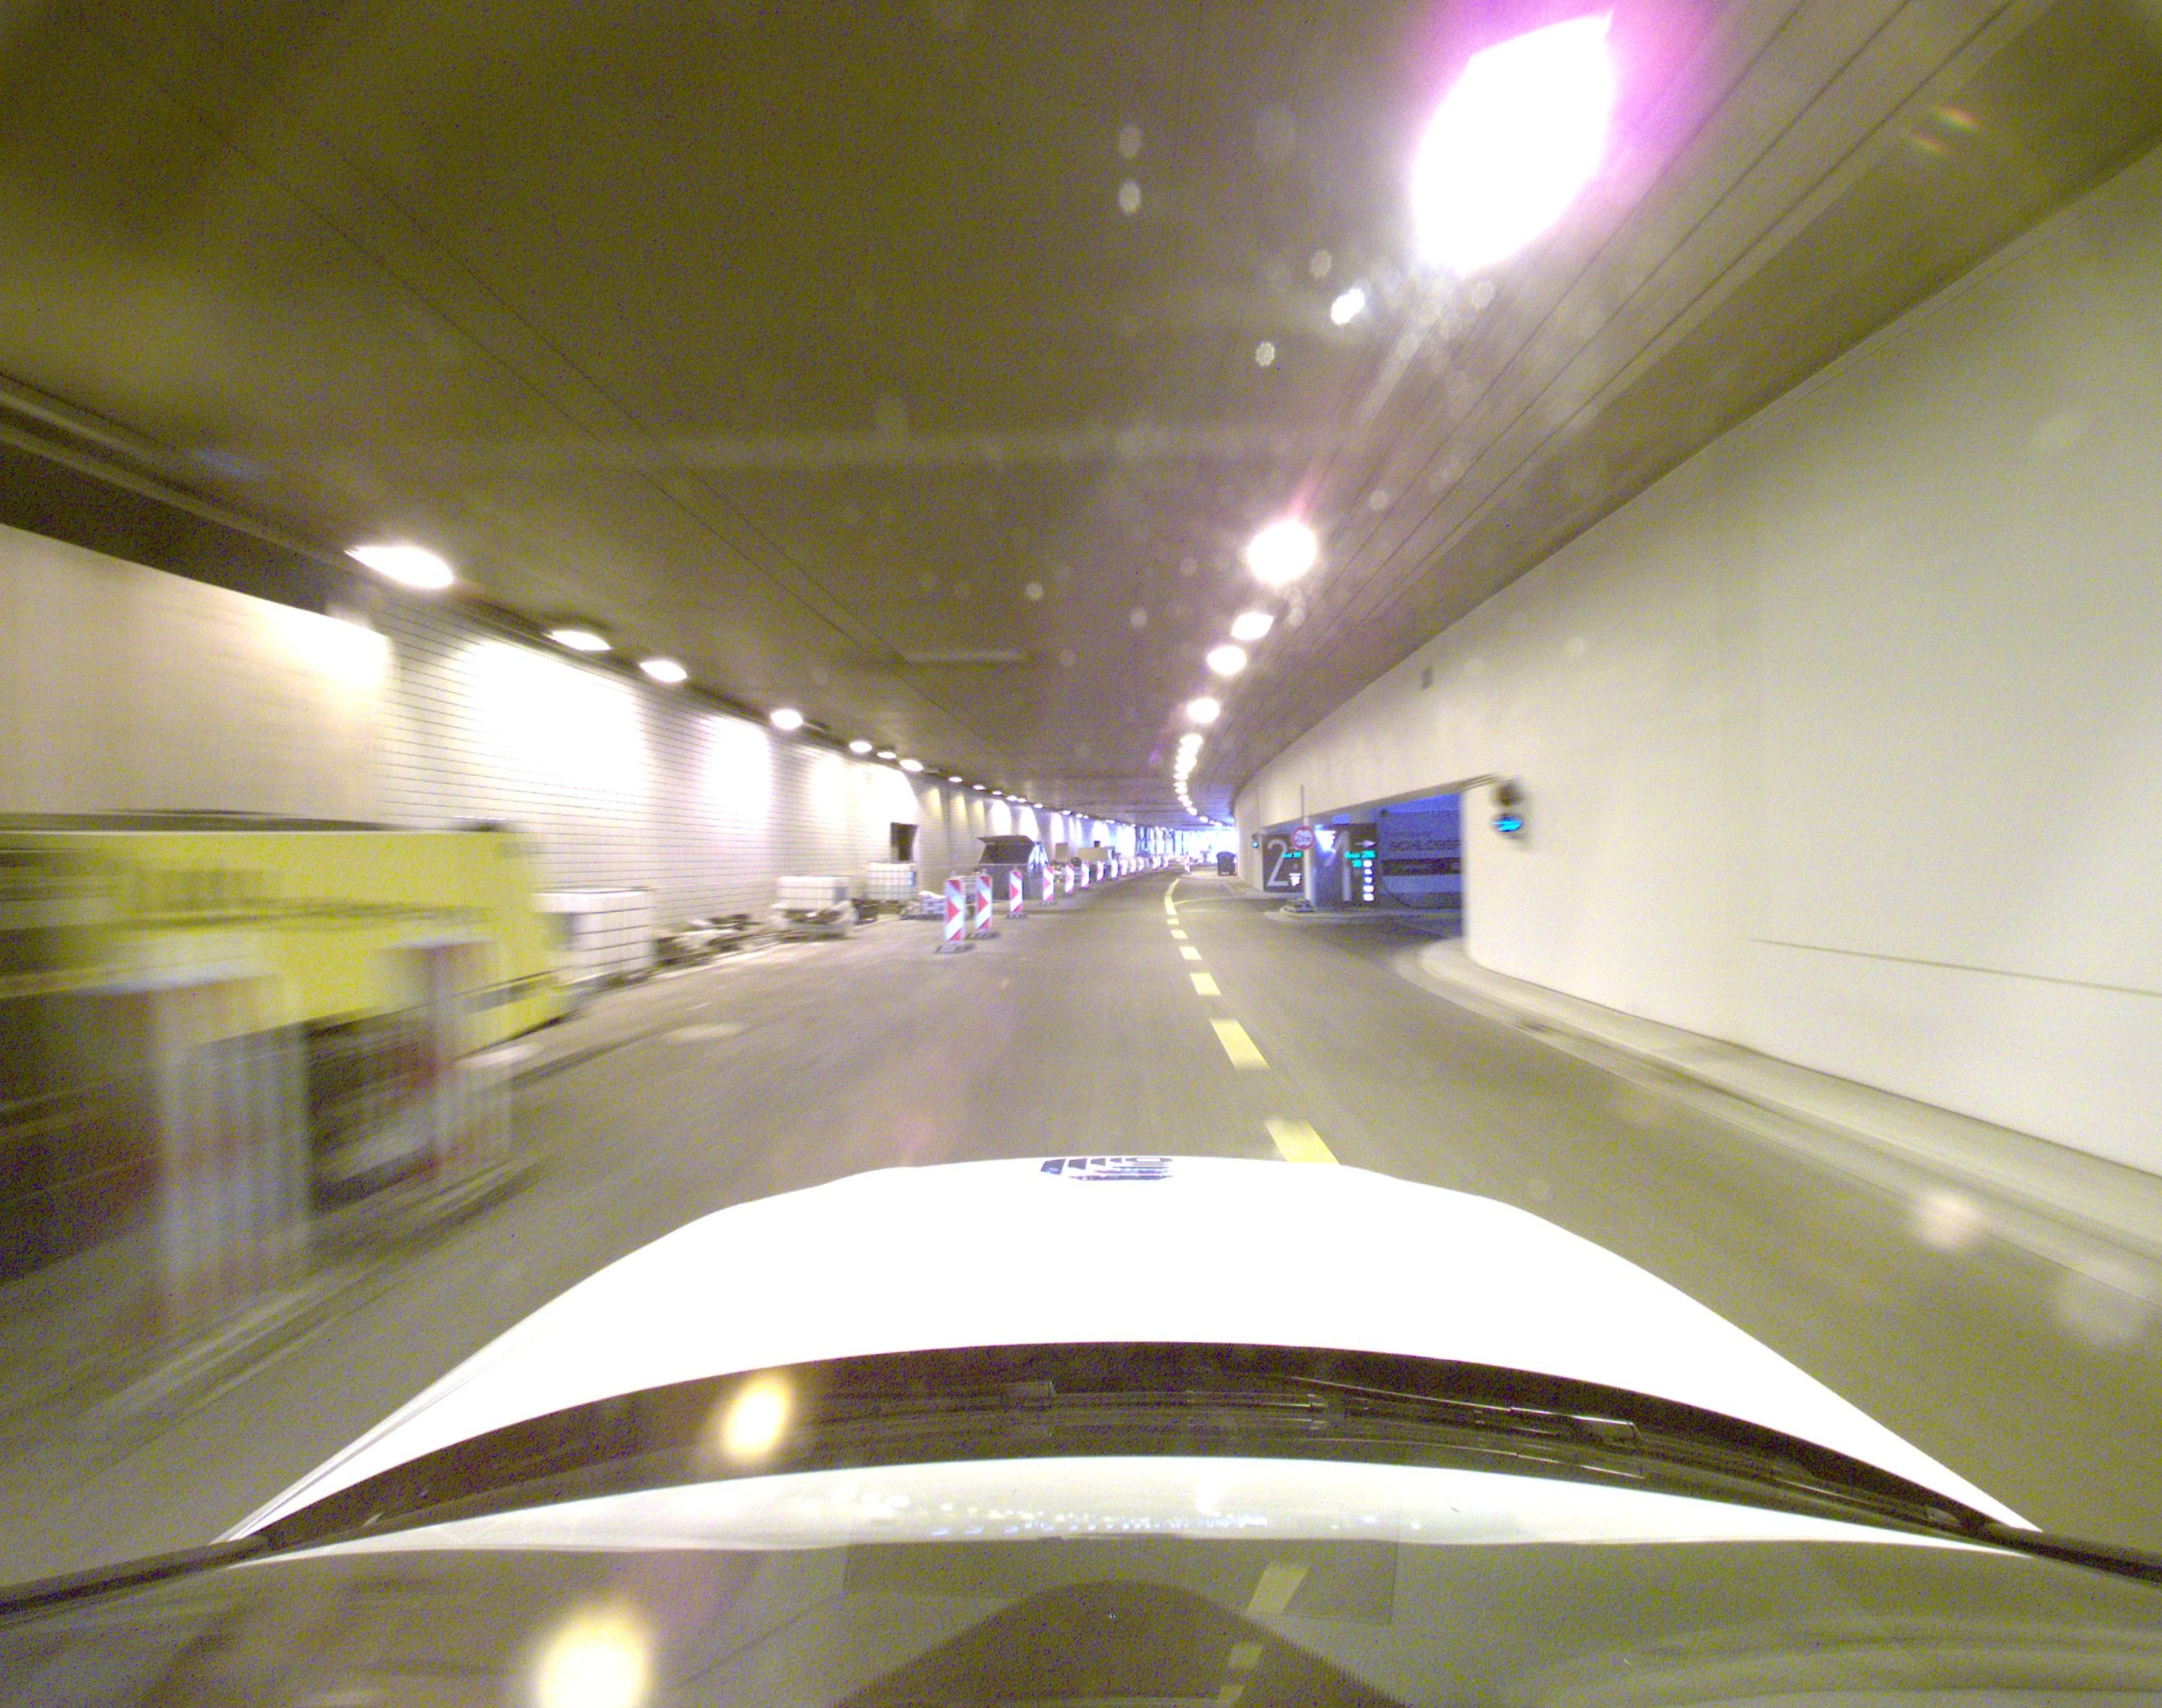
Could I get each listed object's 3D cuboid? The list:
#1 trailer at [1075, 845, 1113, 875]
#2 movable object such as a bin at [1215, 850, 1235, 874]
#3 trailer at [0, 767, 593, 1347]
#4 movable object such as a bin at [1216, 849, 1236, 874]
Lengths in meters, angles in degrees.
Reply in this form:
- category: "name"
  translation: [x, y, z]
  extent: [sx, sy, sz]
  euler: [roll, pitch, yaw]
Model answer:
- category: "trailer"
  translation: [0.934, 0.424, 55.752]
  extent: [2.196, 2.014, 3.473]
  euler: [0, -1, 7]
- category: "movable object such as a bin"
  translation: [8.771, 0.469, 49.727]
  extent: [1.139, 1.445, 1.367]
  euler: [-1, -1, 9]
- category: "trailer"
  translation: [-4.153, 0.645, 3.988]
  extent: [1.634, 1.791, 3.122]
  euler: [0, -1, 0]
- category: "movable object such as a bin"
  translation: [8.591, 0.459, 48.333]
  extent: [1.091, 1.445, 1.325]
  euler: [-1, -1, 9]
